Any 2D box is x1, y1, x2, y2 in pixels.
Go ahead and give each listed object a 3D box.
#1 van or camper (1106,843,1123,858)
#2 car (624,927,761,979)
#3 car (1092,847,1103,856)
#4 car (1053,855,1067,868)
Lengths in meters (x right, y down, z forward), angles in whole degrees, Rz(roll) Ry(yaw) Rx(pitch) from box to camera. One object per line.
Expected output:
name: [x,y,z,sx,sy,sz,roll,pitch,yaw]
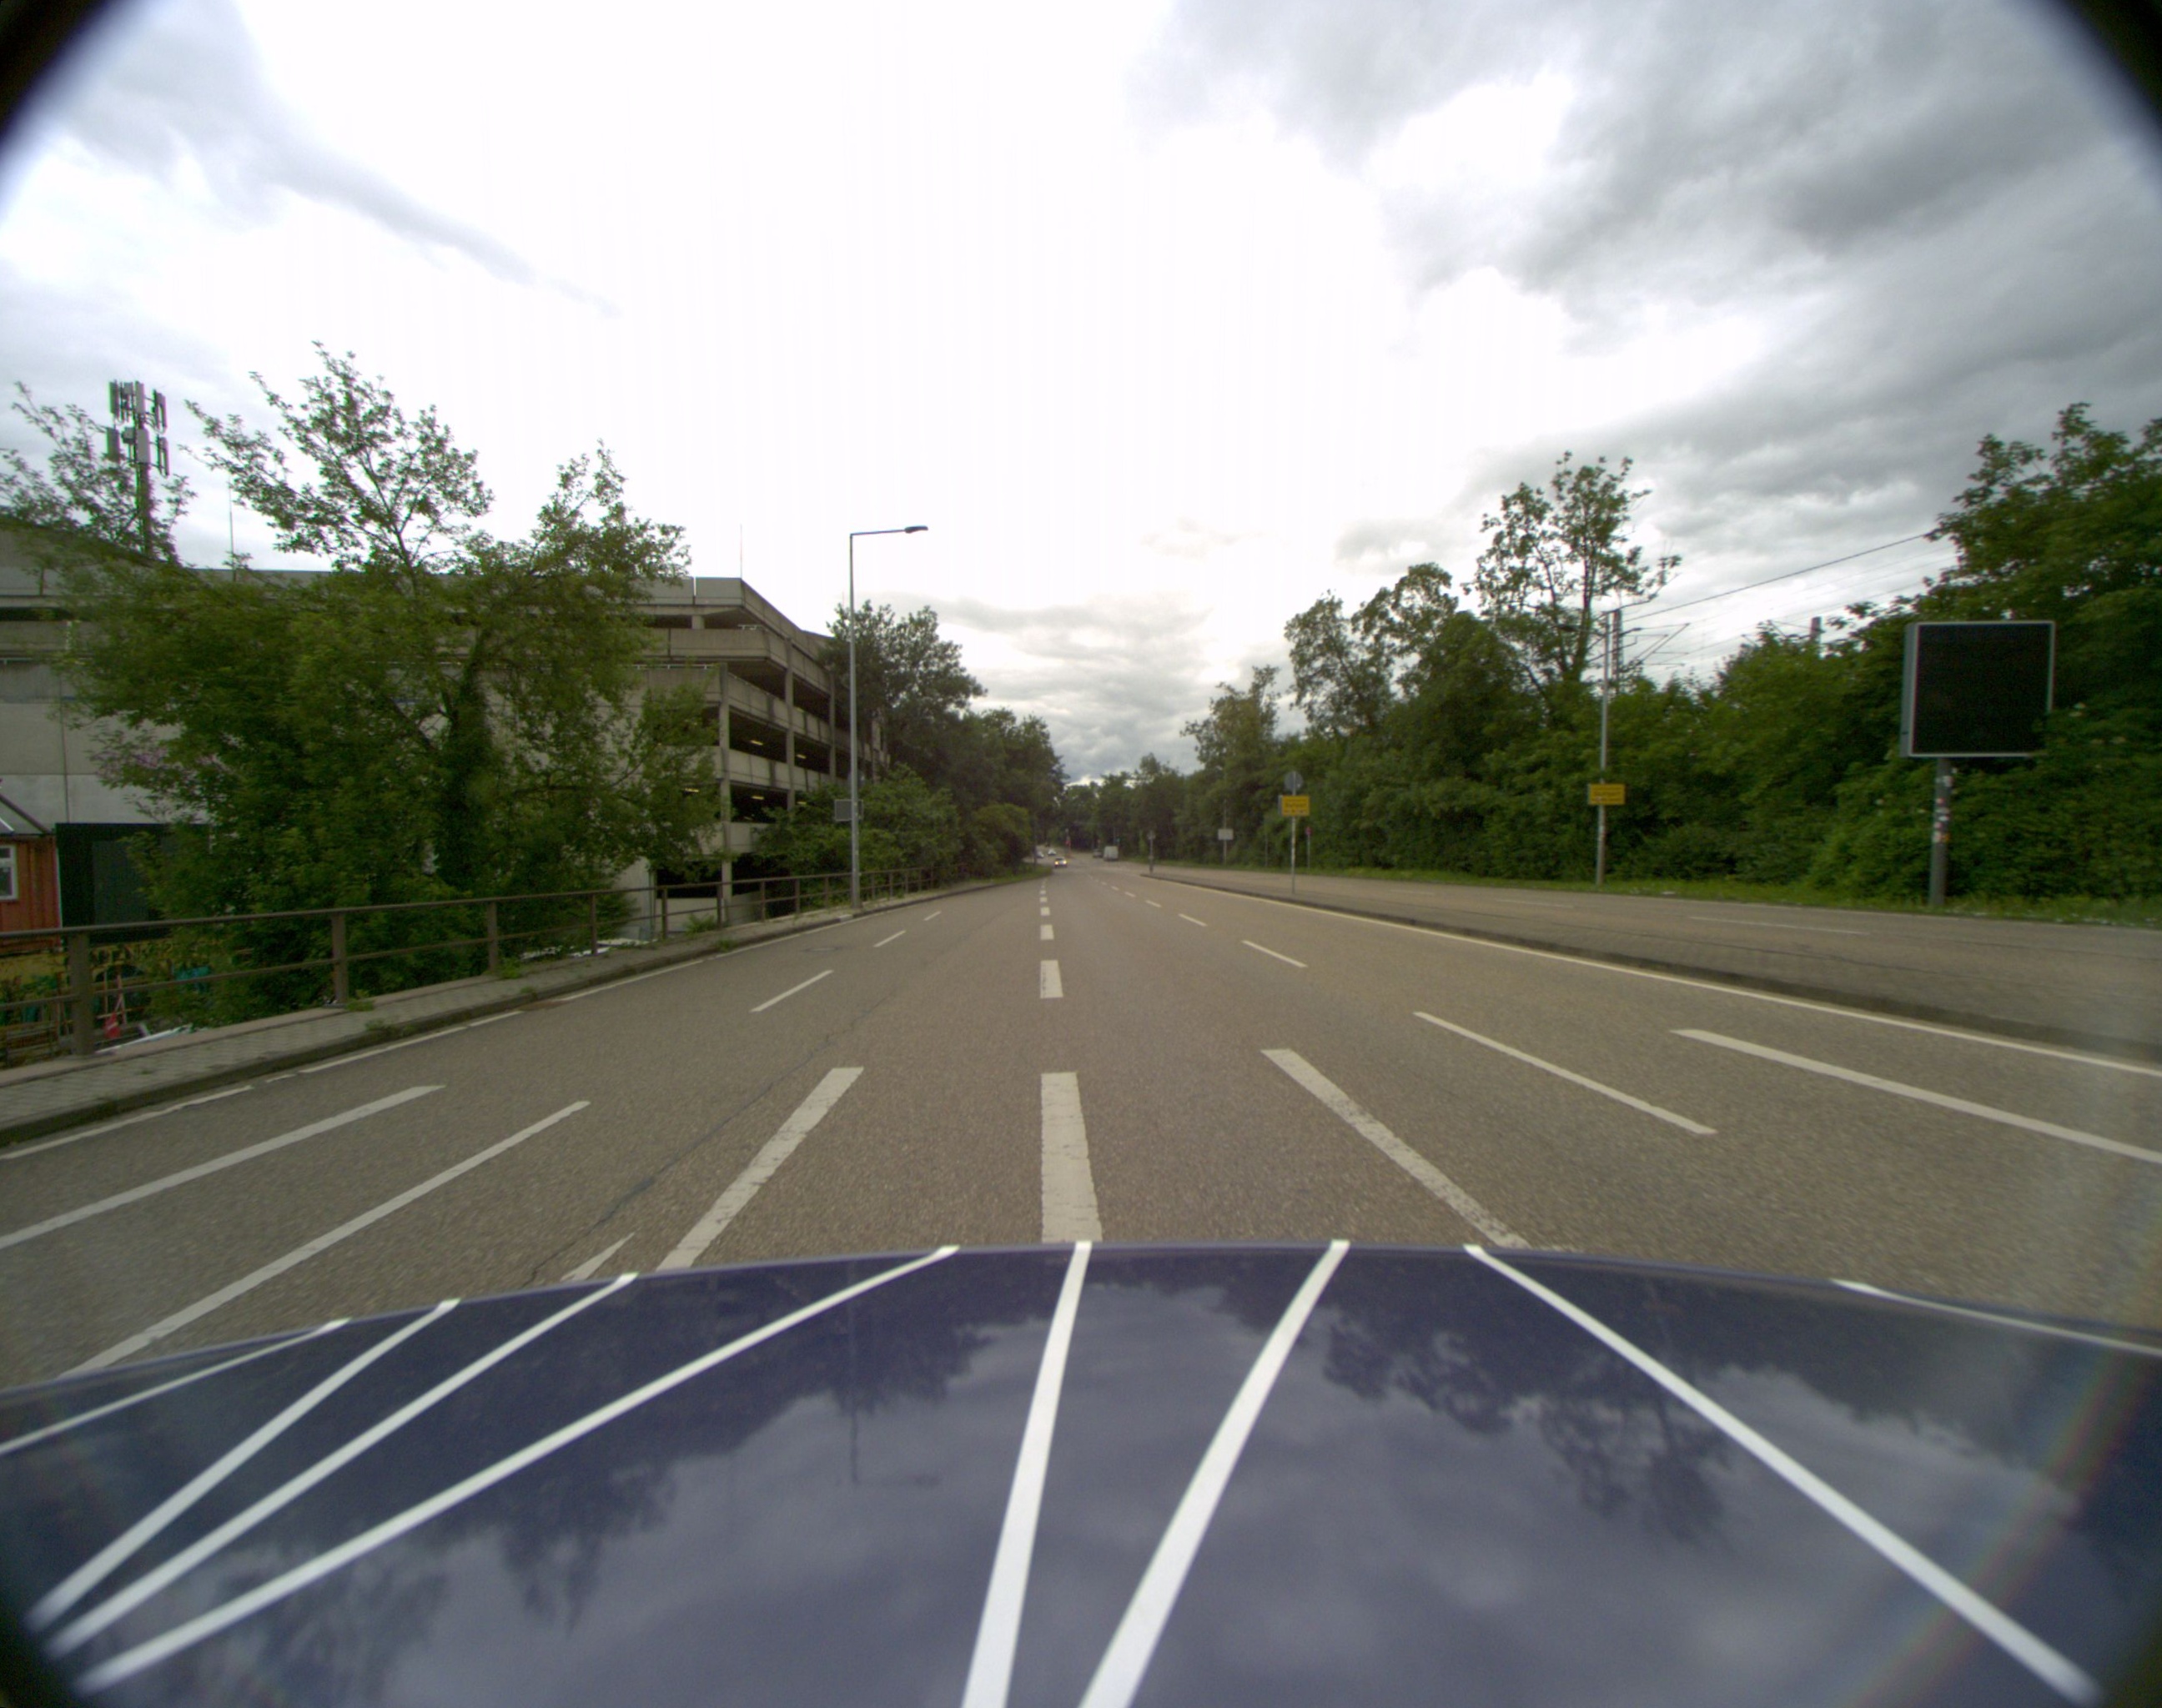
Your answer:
van or camper: [5.891,-0.636,135.481,2.289,2.540,6.857,-5,0,-3]
car: [-16.556,4.229,32.617,4.758,1.775,1.998,-1,2,-4]
car: [3.395,-0.512,160.400,1.818,1.819,4.382,-1,0,-5]
car: [-2.948,1.054,108.243,1.855,1.471,4.508,-4,1,-1]
